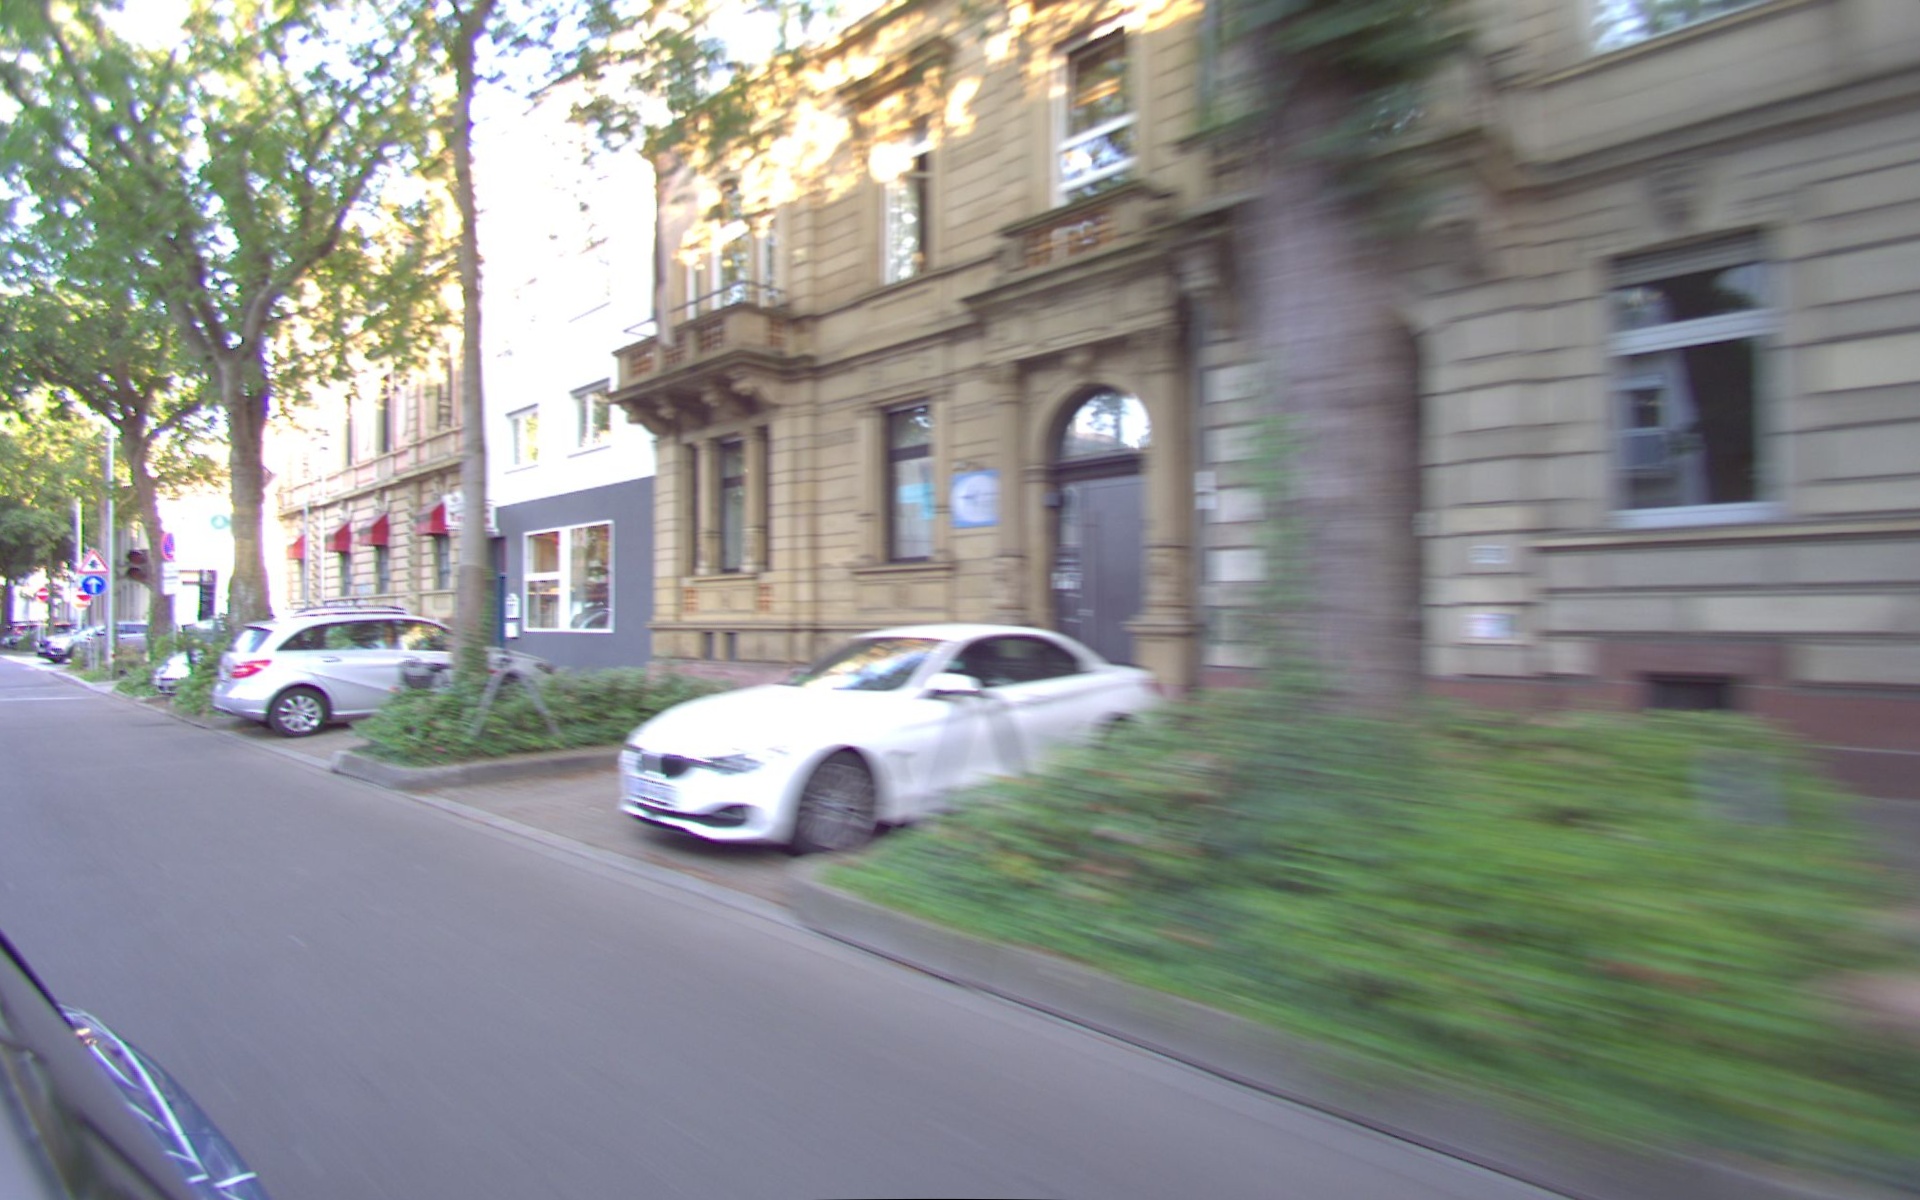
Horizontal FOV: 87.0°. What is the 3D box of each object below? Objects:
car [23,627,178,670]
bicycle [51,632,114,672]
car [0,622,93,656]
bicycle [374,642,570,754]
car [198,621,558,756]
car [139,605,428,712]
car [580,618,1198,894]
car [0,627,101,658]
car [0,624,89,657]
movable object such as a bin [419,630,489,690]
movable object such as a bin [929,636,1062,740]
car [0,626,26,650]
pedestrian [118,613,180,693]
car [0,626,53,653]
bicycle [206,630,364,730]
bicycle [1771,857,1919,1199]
[{"bbox_3d":[-34.147,1.879,40.363,1.935,1.582,4.326,0,-1,23],"label":"car"},{"bbox_3d":[-29.358,1.745,33.909,0.793,1.234,2.425,-4,-1,-22],"label":"bicycle"},{"bbox_3d":[-55.168,2.305,61.091,1.996,1.966,3.952,-1,-2,35],"label":"car"},{"bbox_3d":[-5.145,0.997,10.762,0.599,1.016,1.774,-1,0,44],"label":"bicycle"},{"bbox_3d":[-8.107,1.116,14.339,4.121,1.569,1.828,0,-1,-44],"label":"car"},{"bbox_3d":[-13.179,1.048,19.943,1.890,1.735,4.378,-2,0,41],"label":"car"},{"bbox_3d":[-0.266,0.863,7.588,4.461,1.401,1.917,0,-1,-45],"label":"car"},{"bbox_3d":[-51.519,2.382,57.396,1.796,1.682,3.952,-1,-2,35],"label":"car"},{"bbox_3d":[-53.664,2.358,59.069,1.796,1.825,3.952,-1,-2,35],"label":"car"},{"bbox_3d":[-9.390,1.090,18.781,1.317,1.070,0.766,-2,-2,43],"label":"movable object such as a bin"},{"bbox_3d":[0.400,0.974,11.652,1.317,1.070,0.792,-2,0,43],"label":"movable object such as a bin"},{"bbox_3d":[-71.431,2.801,74.246,1.841,1.722,3.952,-1,-2,35],"label":"car"},{"bbox_3d":[-18.627,1.203,23.251,0.756,1.790,0.830,-1,-1,4],"label":"pedestrian"},{"bbox_3d":[-63.016,2.621,67.068,1.996,1.722,3.952,-1,-2,35],"label":"car"},{"bbox_3d":[-9.831,1.126,14.795,0.773,1.336,1.777,-2,-1,38],"label":"bicycle"},{"bbox_3d":[1.877,0.920,0.881,1.759,1.001,0.664,-2,-2,44],"label":"bicycle"}]
